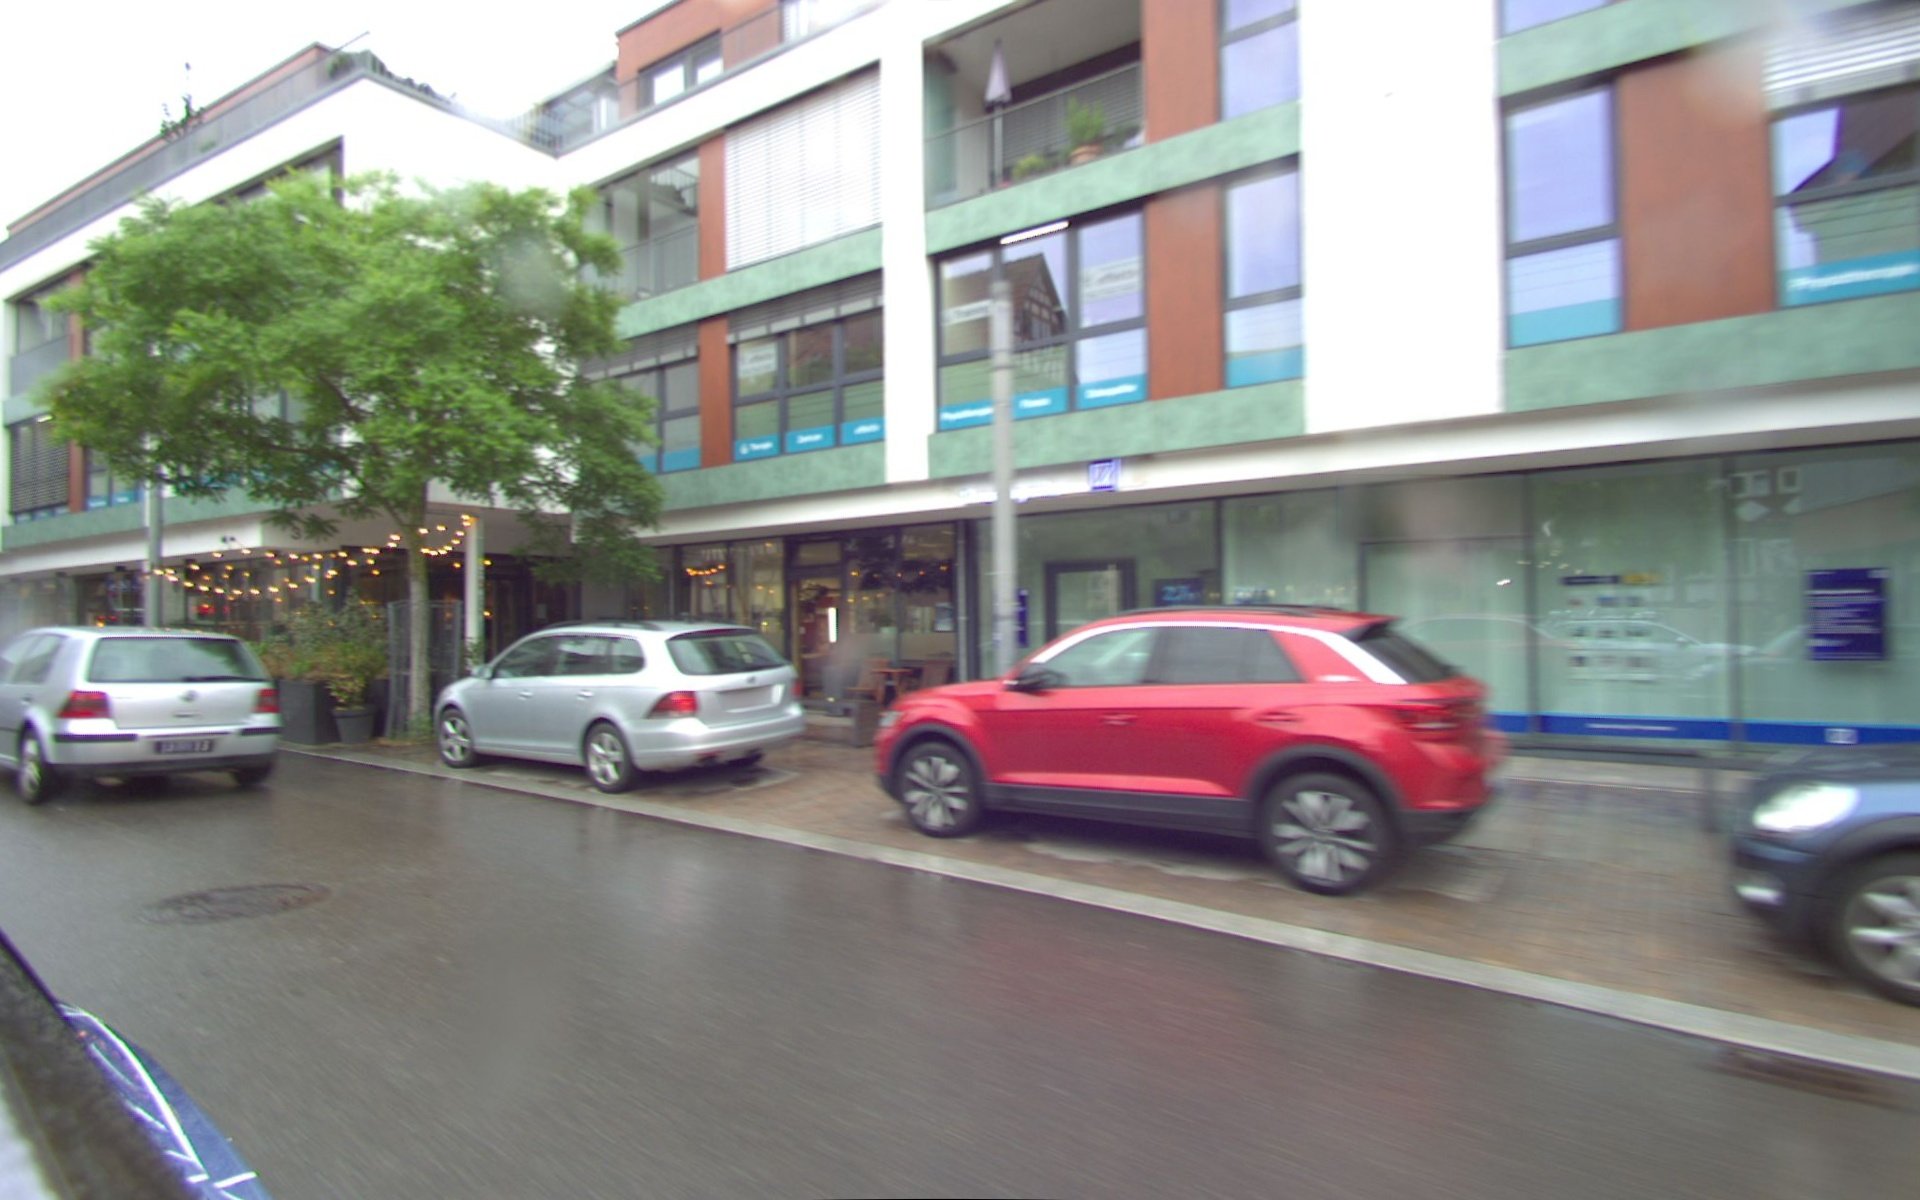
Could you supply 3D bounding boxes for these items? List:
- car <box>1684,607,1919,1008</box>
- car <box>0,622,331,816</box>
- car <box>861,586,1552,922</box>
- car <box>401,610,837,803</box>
[{"bbox_3d":[5.066,0.754,3.680,3.904,1.469,1.699,-1,-1,37],"label":"car"},{"bbox_3d":[-7.809,0.950,9.268,4.013,1.428,1.777,-1,-4,30],"label":"car"},{"bbox_3d":[1.482,0.768,6.703,4.097,1.588,1.771,-1,-2,35],"label":"car"},{"bbox_3d":[-3.465,0.876,9.954,4.444,1.510,1.771,-1,-2,35],"label":"car"}]
